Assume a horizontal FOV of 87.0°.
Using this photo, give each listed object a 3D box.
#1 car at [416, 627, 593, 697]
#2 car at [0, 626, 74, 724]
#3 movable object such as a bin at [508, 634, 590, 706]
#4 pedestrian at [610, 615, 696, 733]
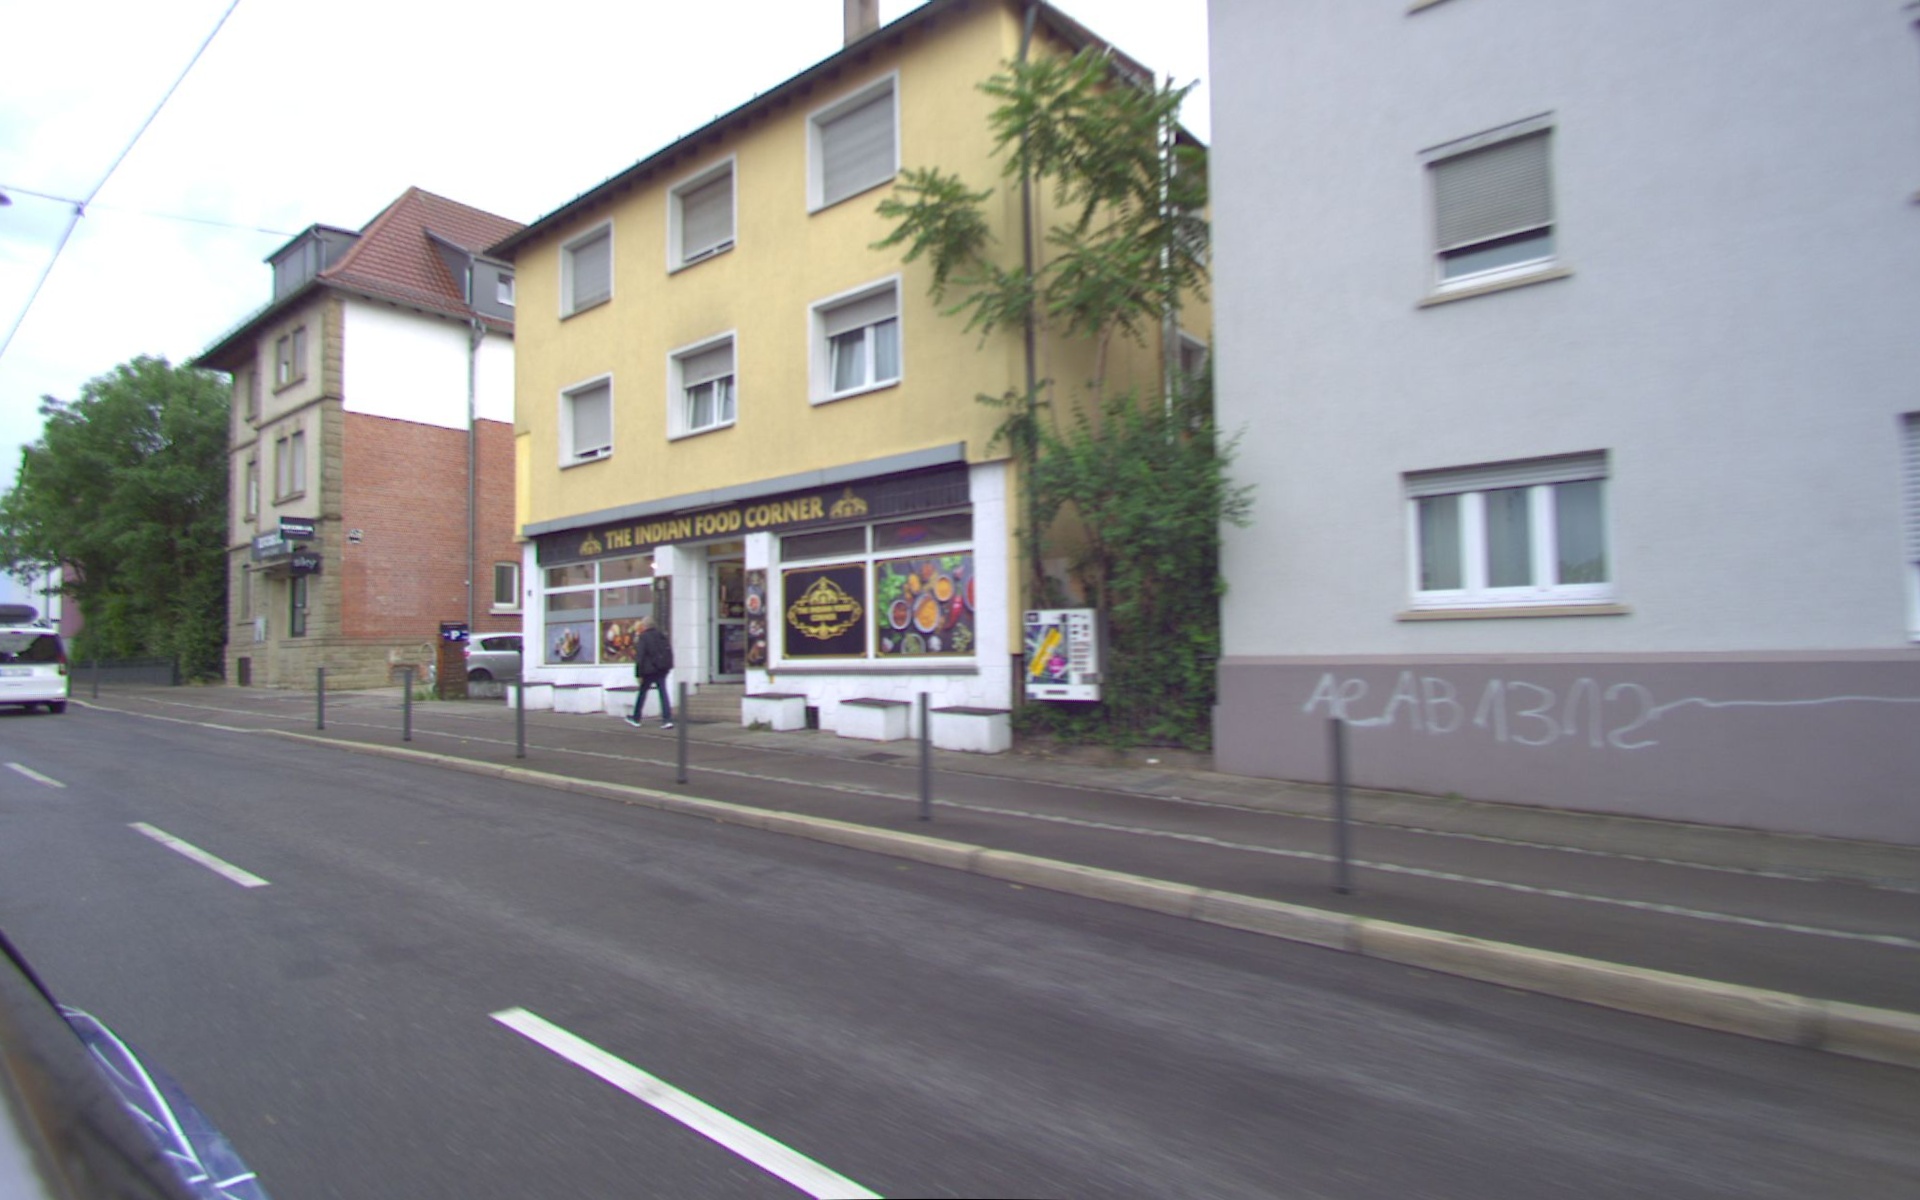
[{"bbox_3d":[-11.339,1.503,25.359,1.944,1.497,3.531,-3,-1,38],"label":"car"},{"bbox_3d":[-20.124,1.490,21.050,4.449,1.884,1.863,-2,-3,40],"label":"car"},{"bbox_3d":[-8.592,1.445,21.188,0.982,1.413,1.288,-3,-3,39],"label":"movable object such as a bin"},{"bbox_3d":[-4.592,1.075,15.145,0.991,1.692,0.807,-1,-1,37],"label":"pedestrian"}]
